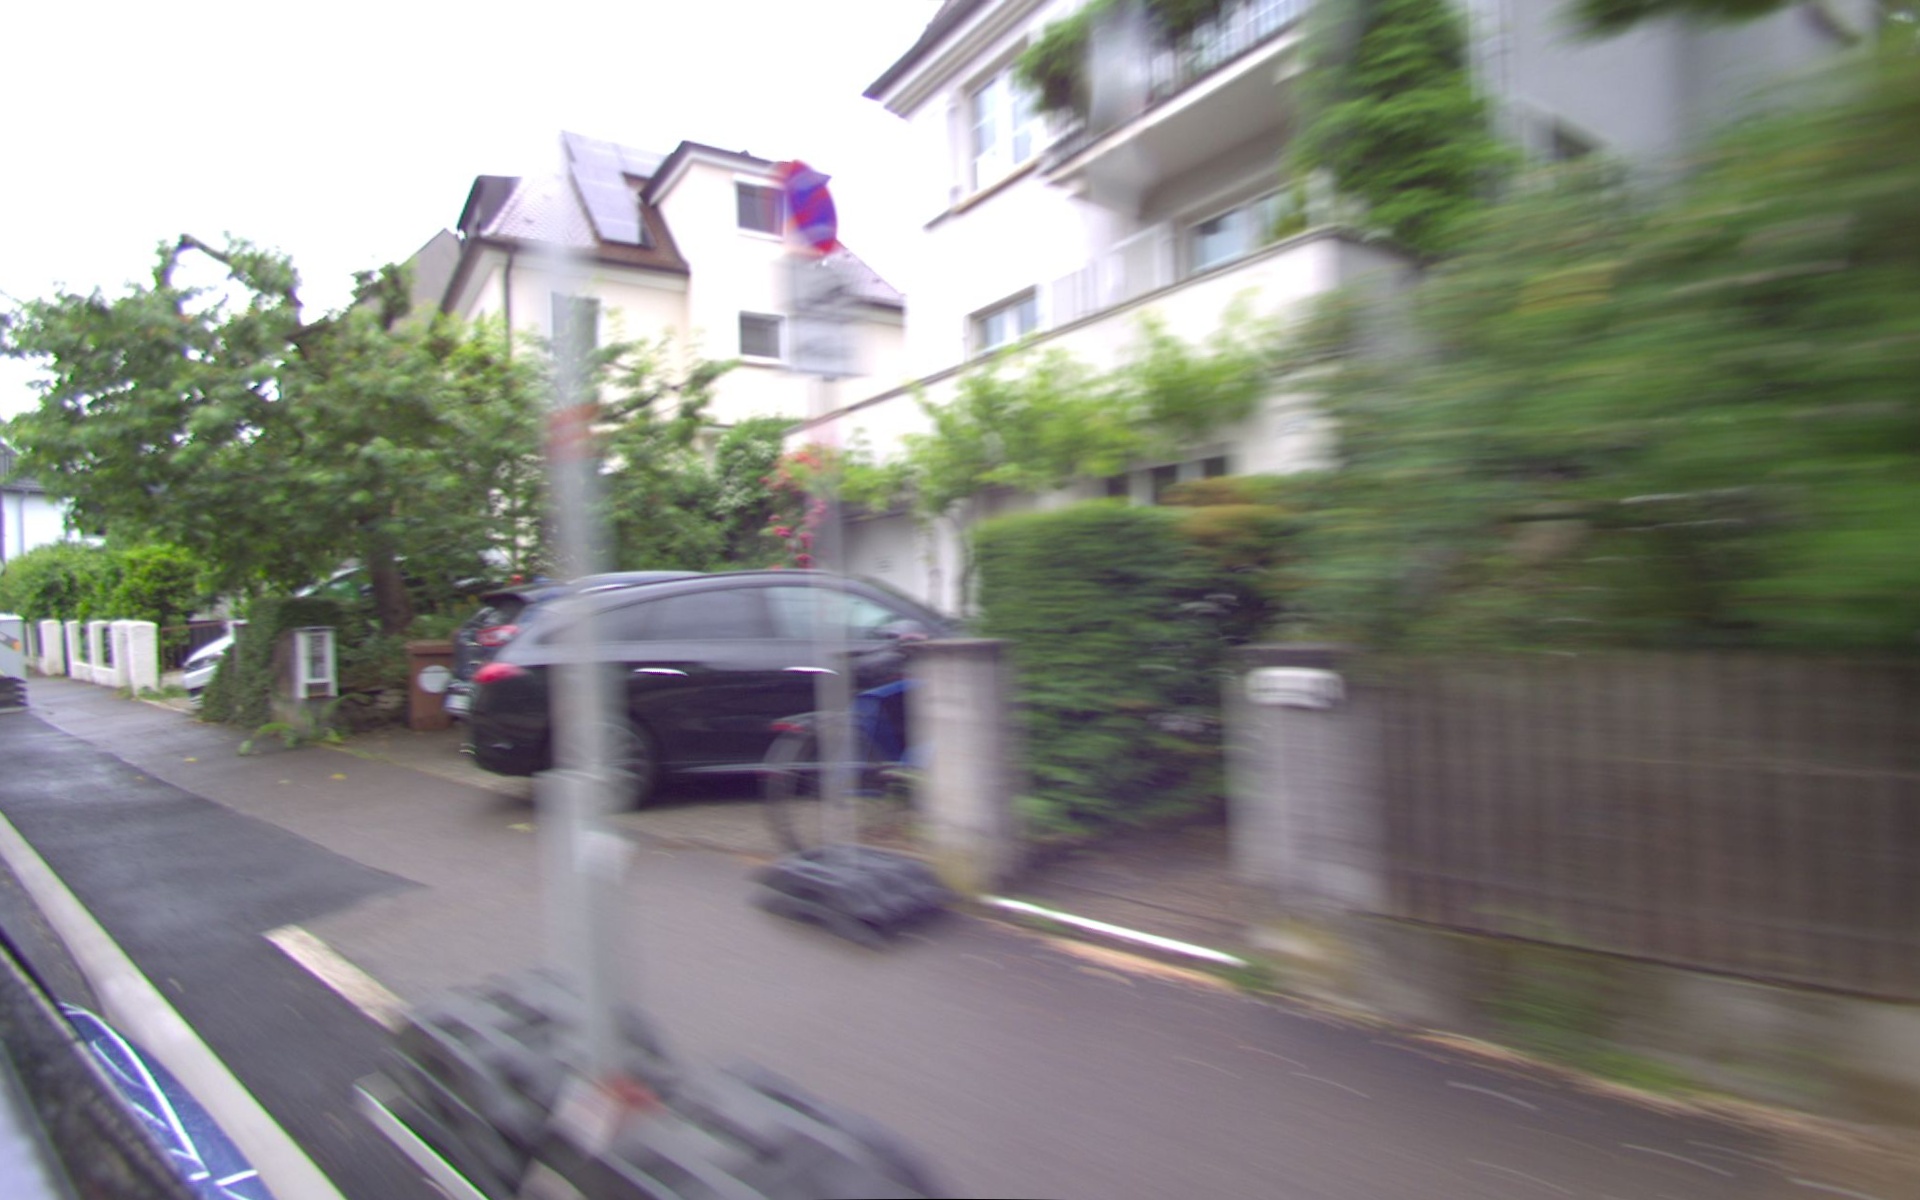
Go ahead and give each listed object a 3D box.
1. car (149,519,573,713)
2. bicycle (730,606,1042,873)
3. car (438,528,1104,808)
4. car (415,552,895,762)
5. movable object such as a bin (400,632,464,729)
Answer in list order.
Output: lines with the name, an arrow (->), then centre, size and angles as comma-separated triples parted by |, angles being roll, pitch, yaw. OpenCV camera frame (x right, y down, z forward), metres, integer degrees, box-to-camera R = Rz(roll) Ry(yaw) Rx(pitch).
car -> -8.576, 0.103, 14.813 | 4.907, 1.626, 1.867 | -16, 9, -38
bicycle -> -0.339, 0.646, 5.281 | 1.597, 1.139, 0.444 | -3, 2, -35
car -> -1.146, 0.376, 6.991 | 3.943, 1.537, 1.787 | -2, 2, -1
car -> -2.803, 0.367, 9.717 | 3.937, 1.537, 1.944 | -3, 3, -40
movable object such as a bin -> -5.488, 0.822, 10.513 | 0.498, 0.938, 0.506 | -2, 2, -36
